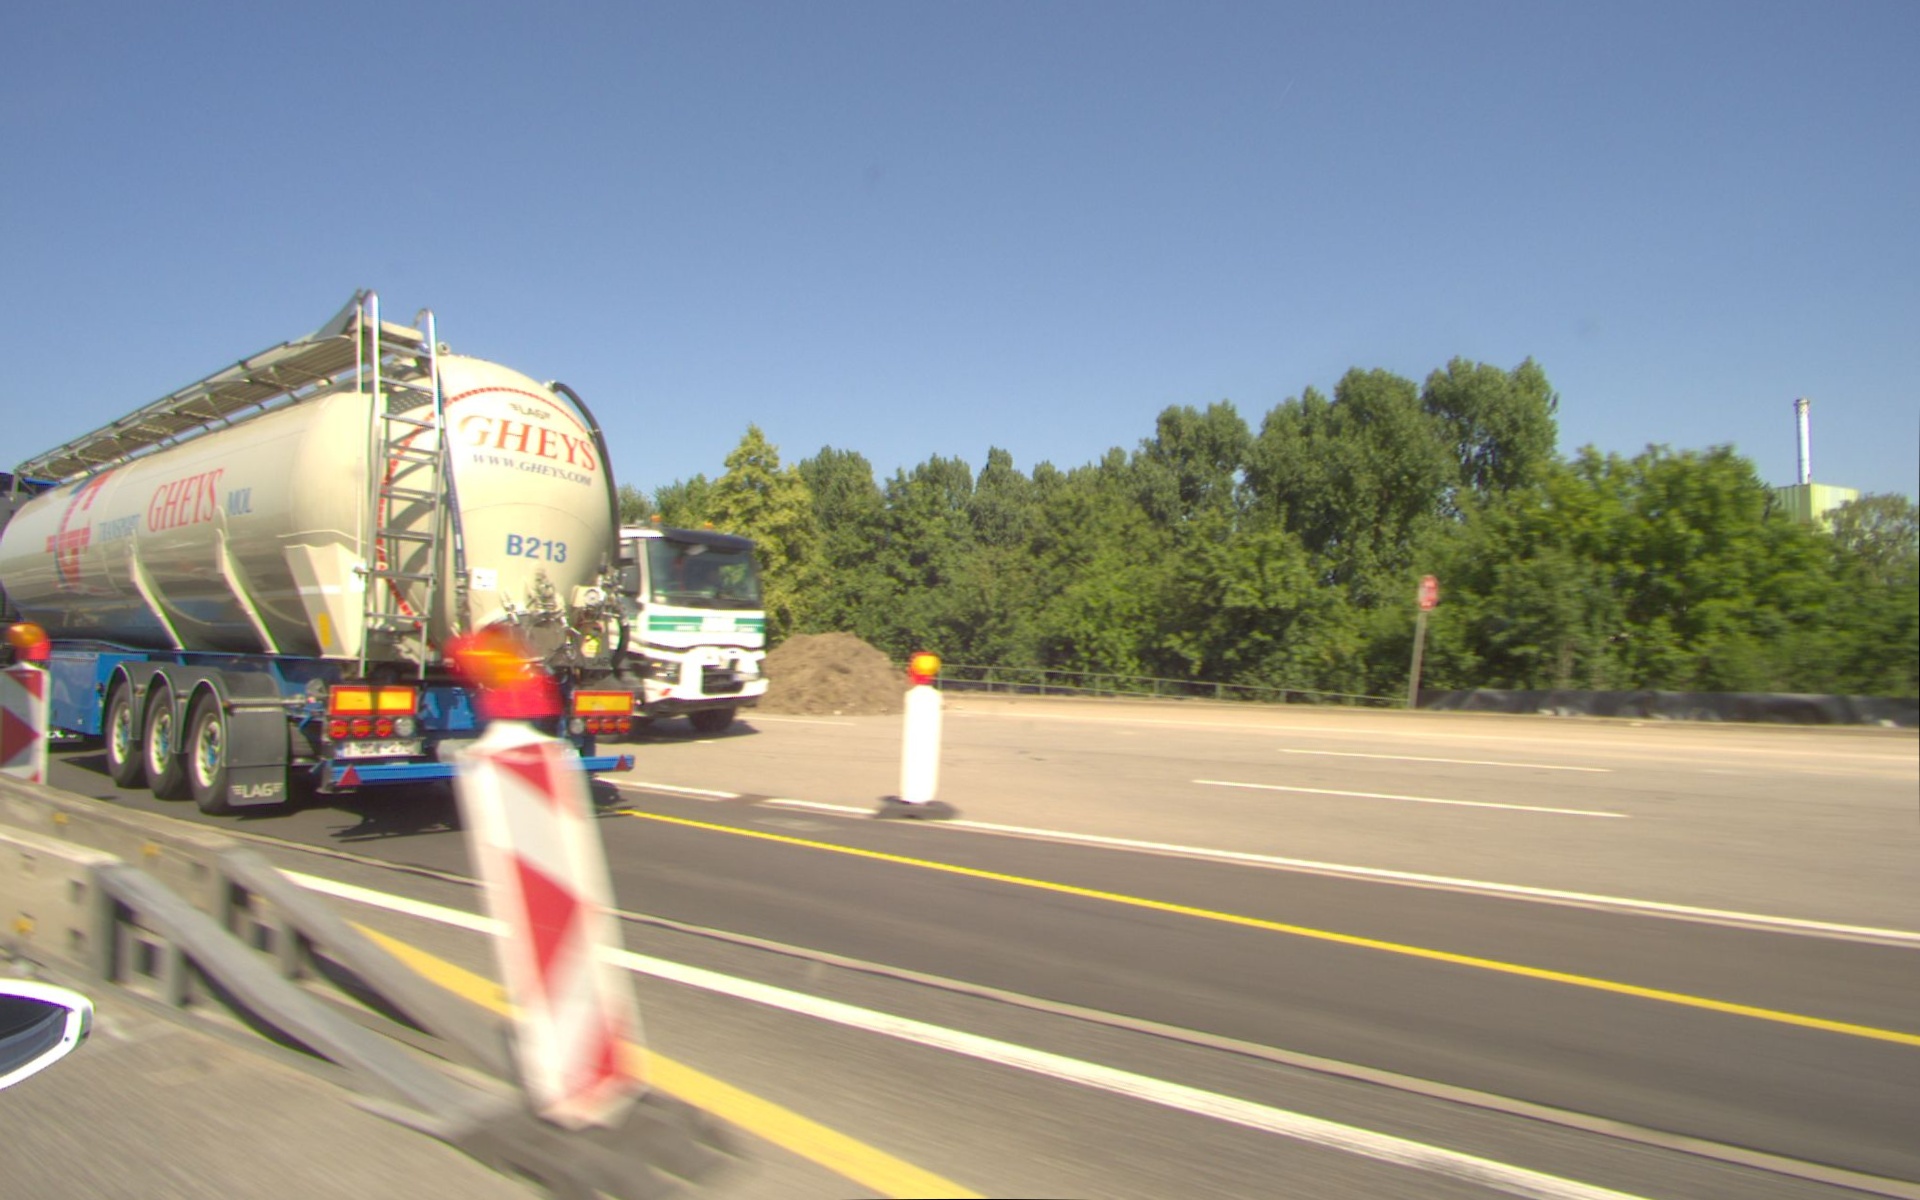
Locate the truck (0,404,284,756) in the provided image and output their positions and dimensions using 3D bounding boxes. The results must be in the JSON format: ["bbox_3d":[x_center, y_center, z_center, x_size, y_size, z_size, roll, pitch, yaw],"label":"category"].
[{"bbox_3d":[-13.030,-0.137,15.138,7.212,4.155,2.683,-1,-2,39],"label":"truck"}]

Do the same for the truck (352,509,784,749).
[{"bbox_3d":[-7.250,0.523,17.892,8.609,3.476,2.595,-1,-1,32],"label":"truck"}]

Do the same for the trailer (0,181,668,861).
[{"bbox_3d":[-8.079,-0.333,11.159,12.462,4.190,2.683,-1,-2,39],"label":"trailer"}]
